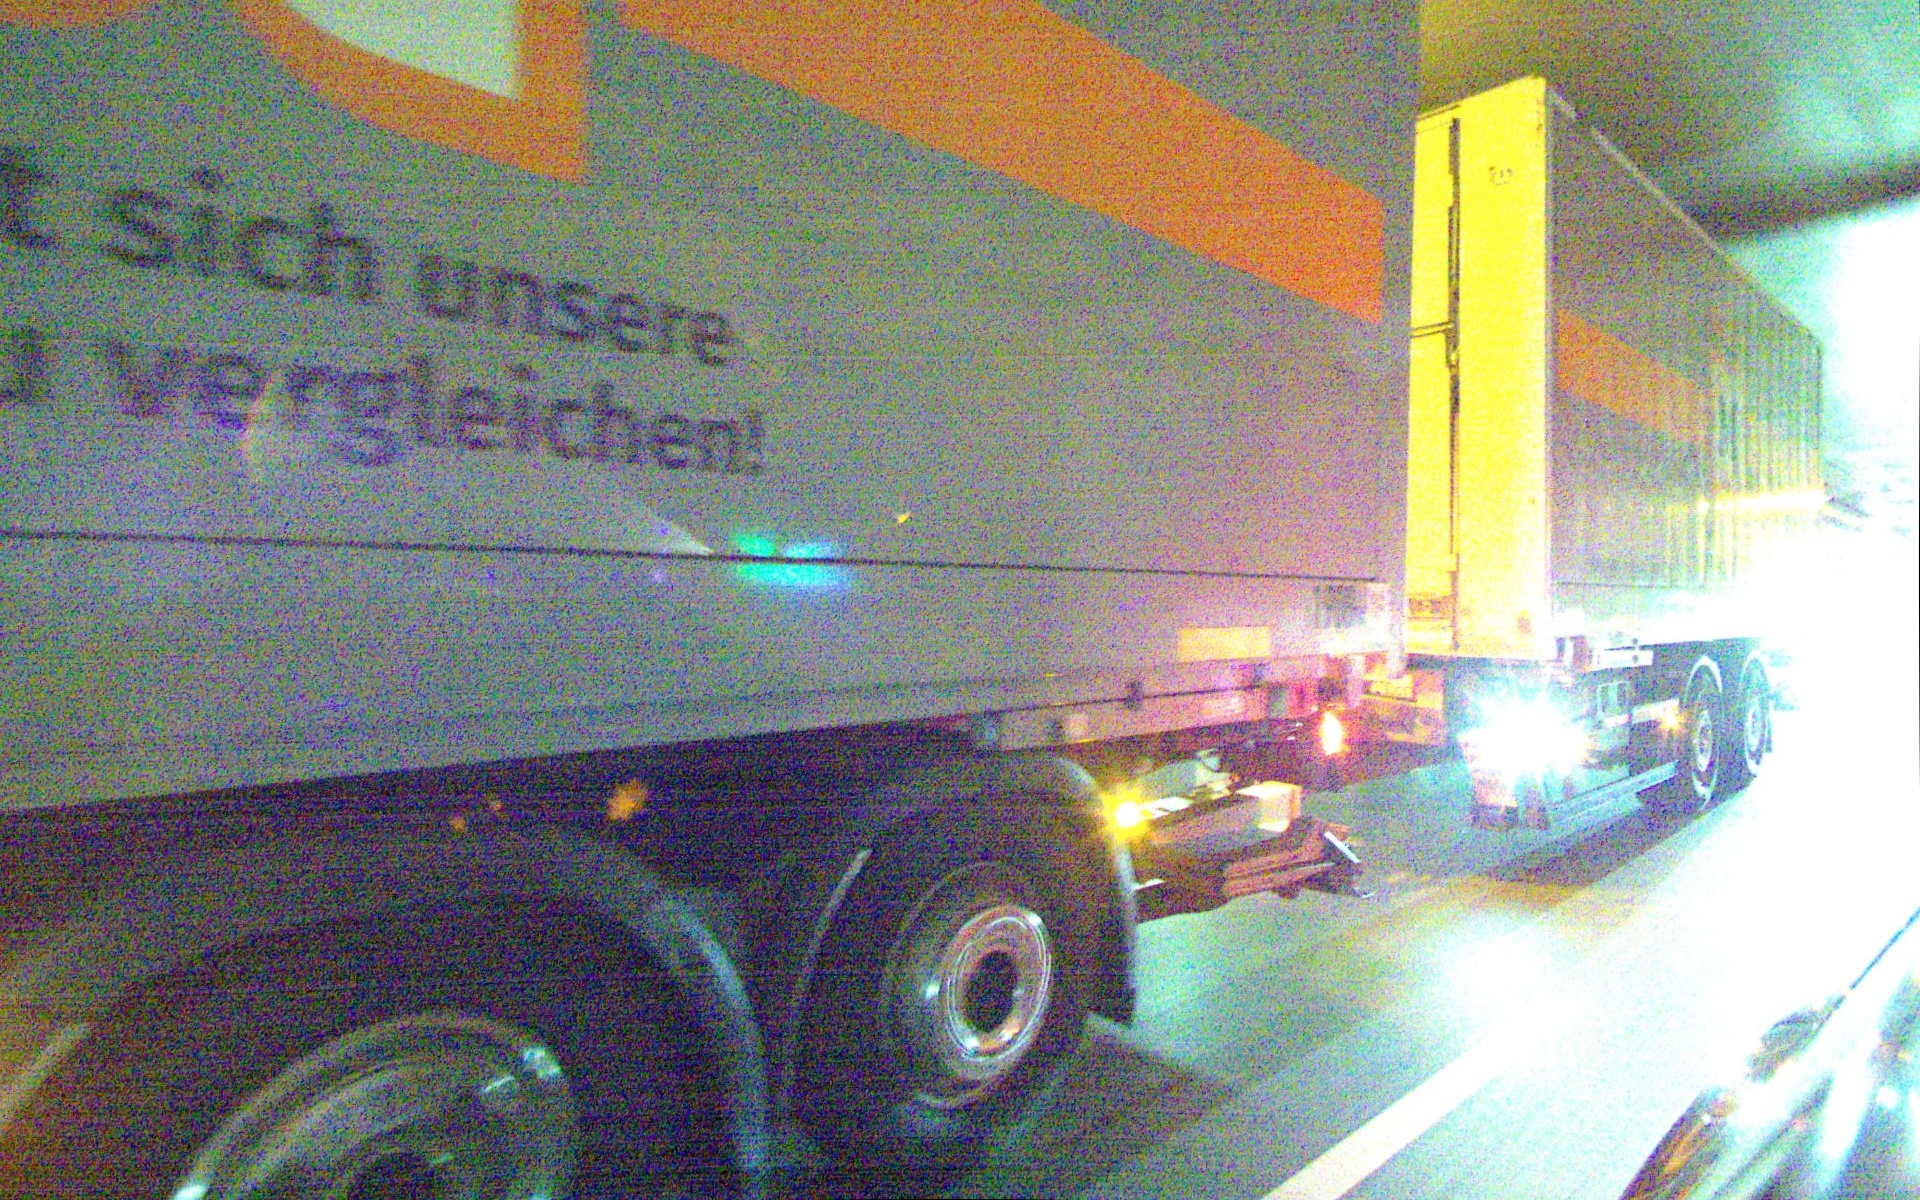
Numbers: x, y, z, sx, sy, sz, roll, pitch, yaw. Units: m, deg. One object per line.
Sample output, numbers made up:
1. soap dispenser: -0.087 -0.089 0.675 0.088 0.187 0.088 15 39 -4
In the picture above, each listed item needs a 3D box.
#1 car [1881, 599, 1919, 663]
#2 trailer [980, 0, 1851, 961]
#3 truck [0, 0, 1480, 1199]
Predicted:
1. car: 23.188 0.701 23.919 3.734 1.421 1.733 0 0 -42
2. trailer: 4.346 -0.555 7.918 8.792 3.907 2.879 0 -1 -42
3. truck: -2.570 -0.591 1.683 9.739 3.963 2.892 0 0 -42
